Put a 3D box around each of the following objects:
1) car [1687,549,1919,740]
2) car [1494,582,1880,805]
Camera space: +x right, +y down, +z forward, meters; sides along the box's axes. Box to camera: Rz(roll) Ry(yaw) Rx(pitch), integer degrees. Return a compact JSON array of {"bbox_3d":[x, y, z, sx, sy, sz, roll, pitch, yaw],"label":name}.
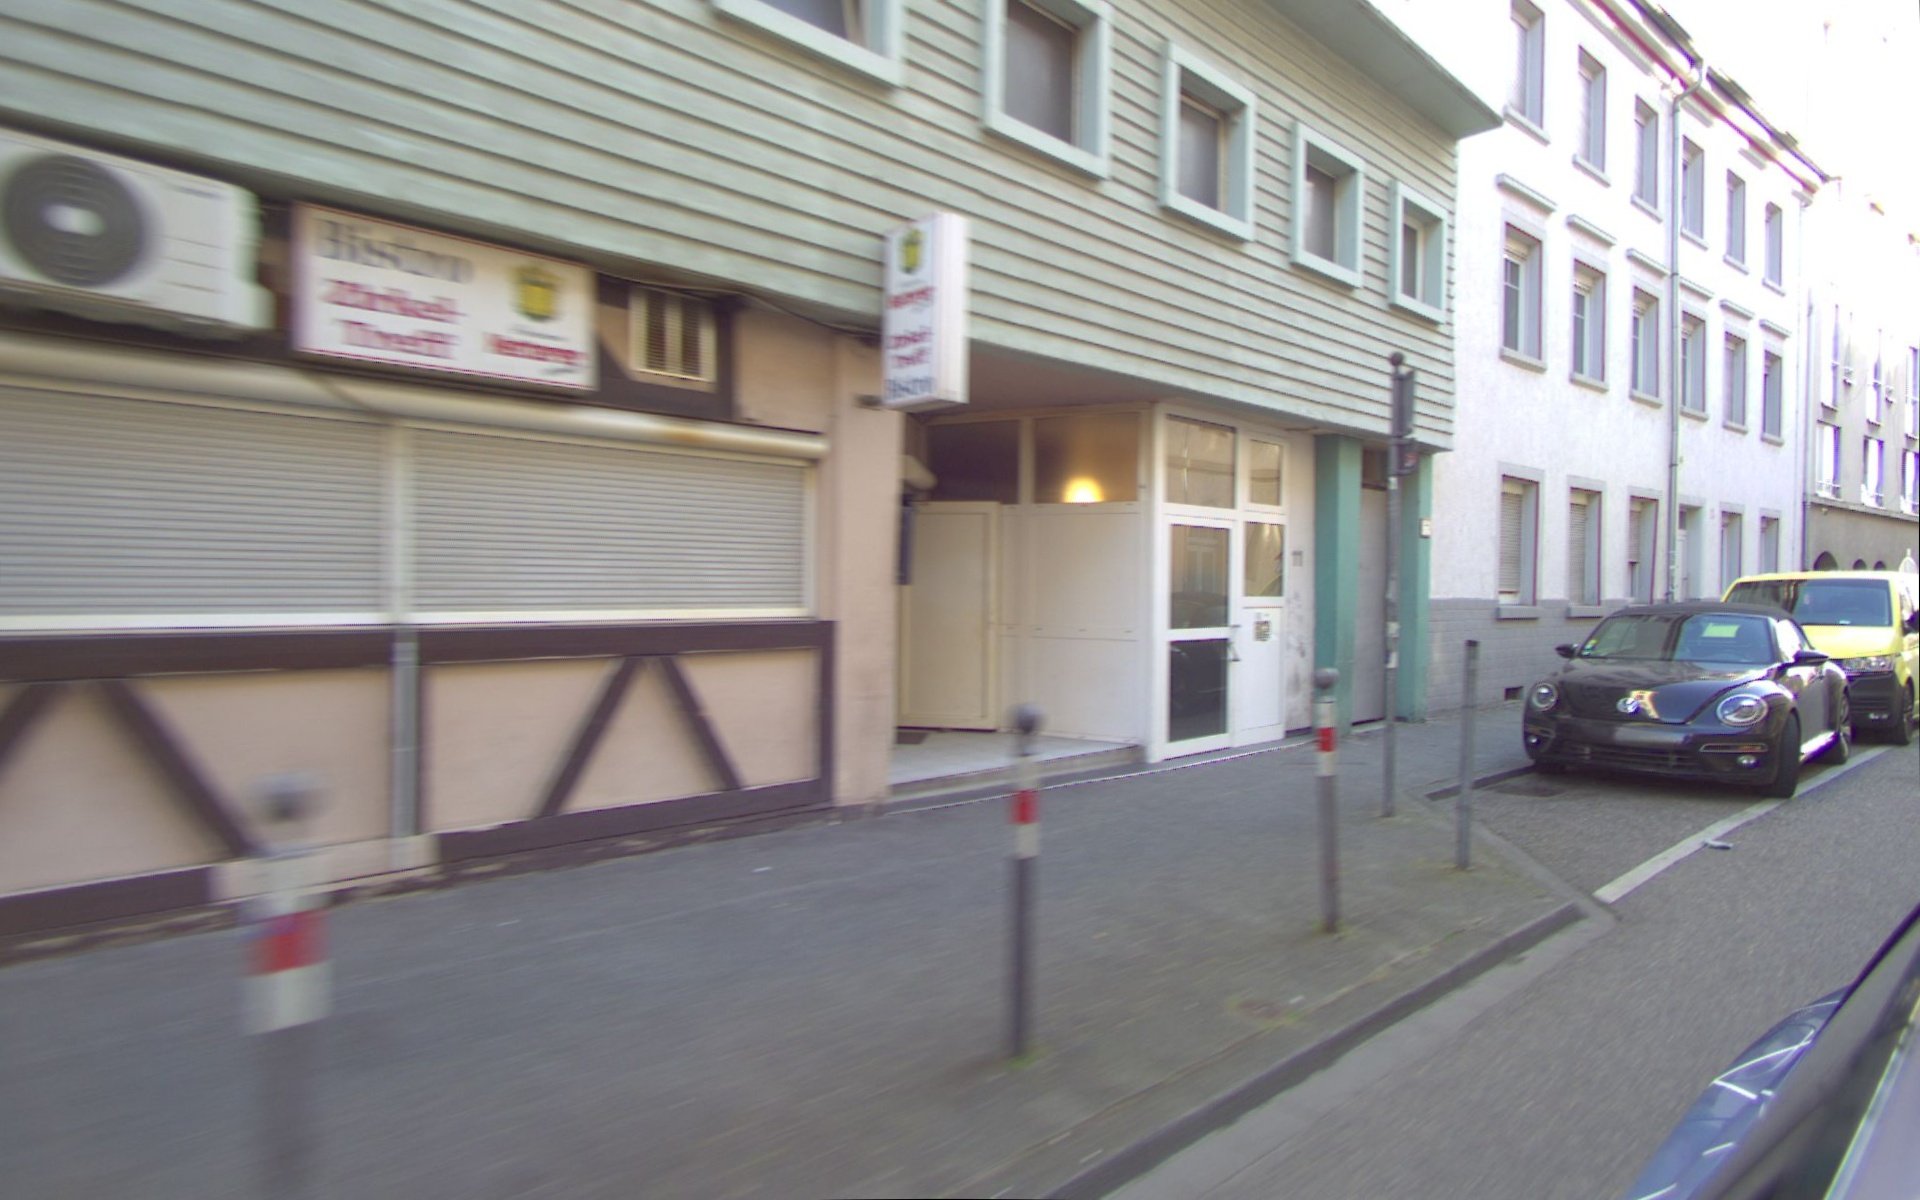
[{"bbox_3d":[10.732,0.441,12.298,4.758,1.905,1.888,1,1,-39],"label":"car"},{"bbox_3d":[6.643,0.644,9.058,4.292,1.508,1.886,1,1,-41],"label":"car"}]
